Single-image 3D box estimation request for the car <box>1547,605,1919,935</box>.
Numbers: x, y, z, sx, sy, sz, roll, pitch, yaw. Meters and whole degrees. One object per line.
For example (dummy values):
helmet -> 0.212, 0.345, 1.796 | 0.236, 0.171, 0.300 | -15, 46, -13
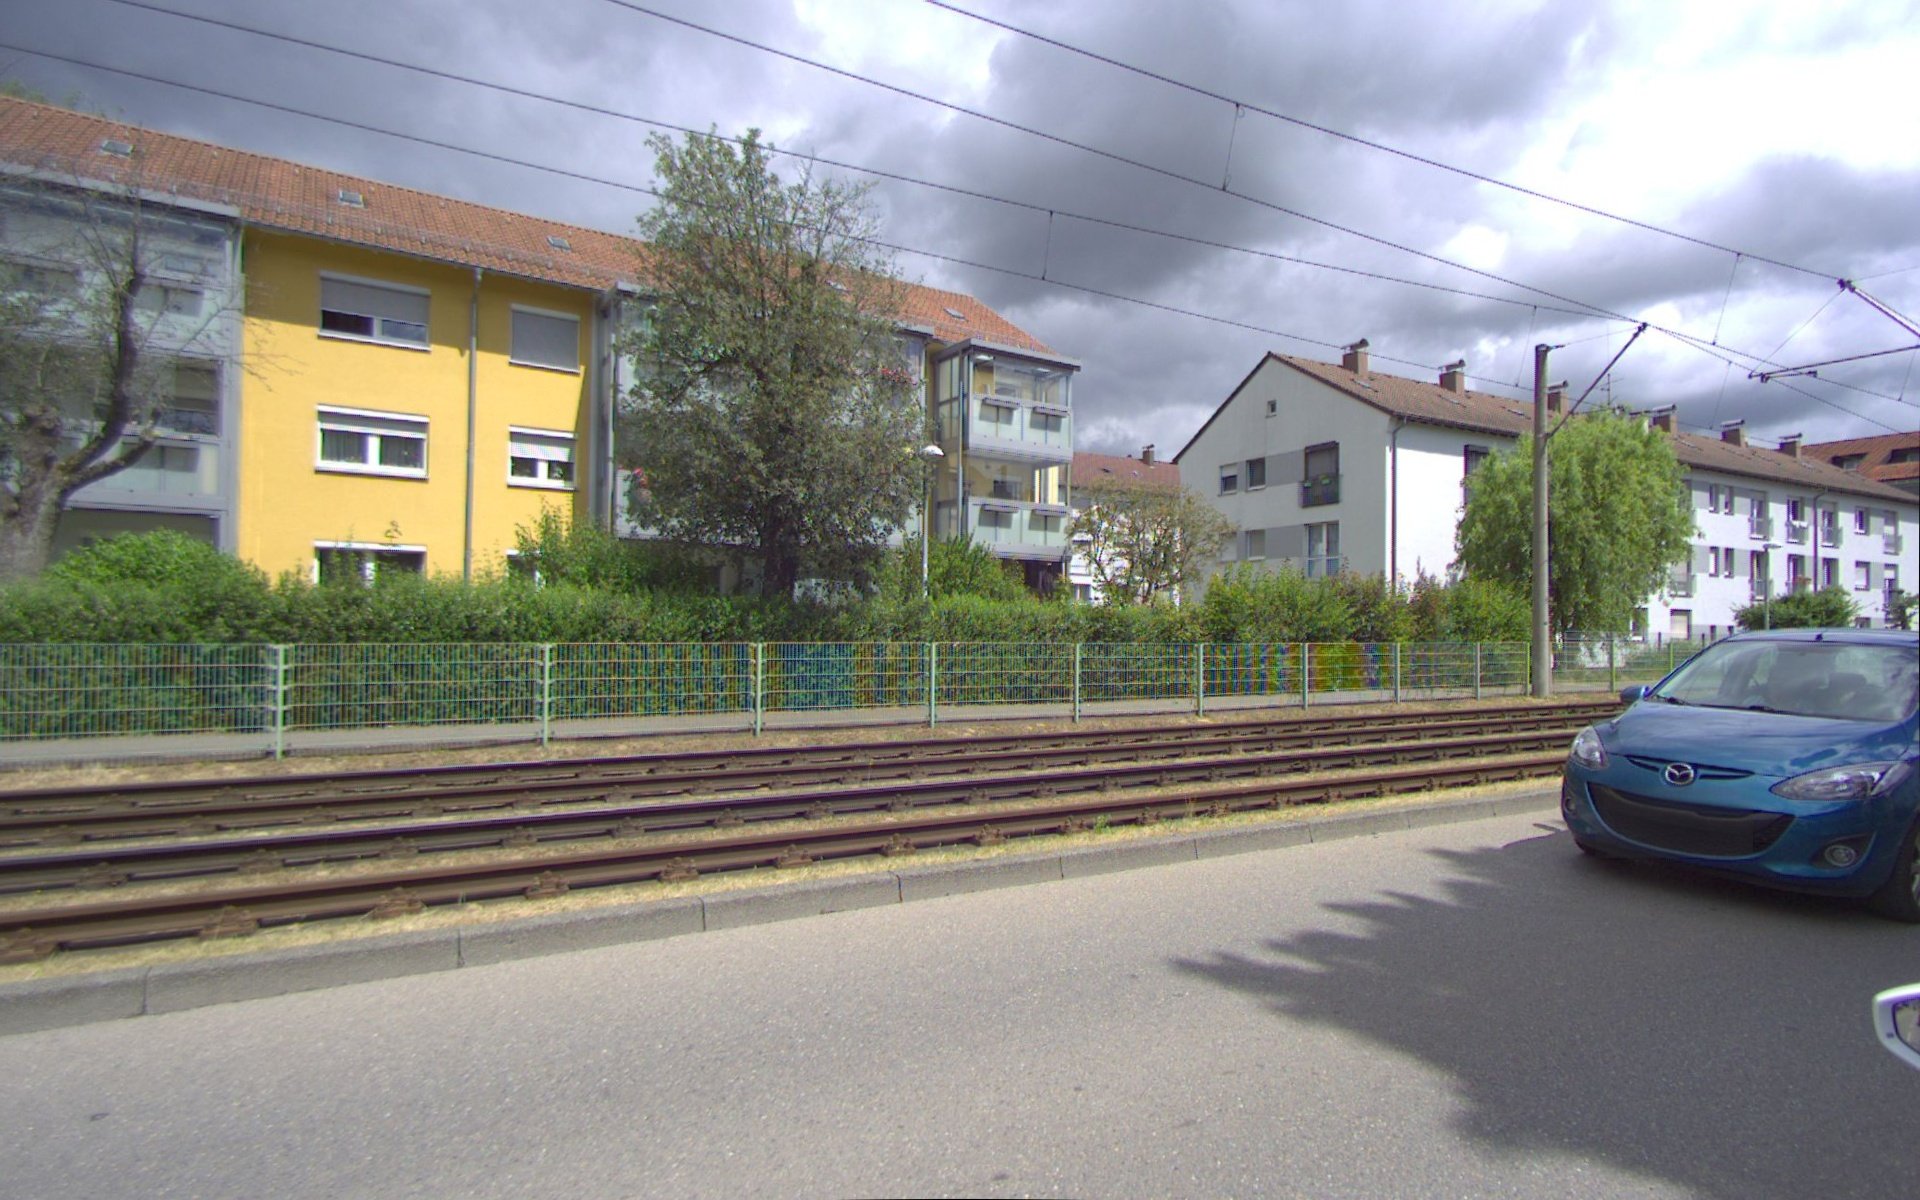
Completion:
car -> 5.507, 0.839, 6.315 | 3.539, 1.545, 1.616 | 1, -1, -30
